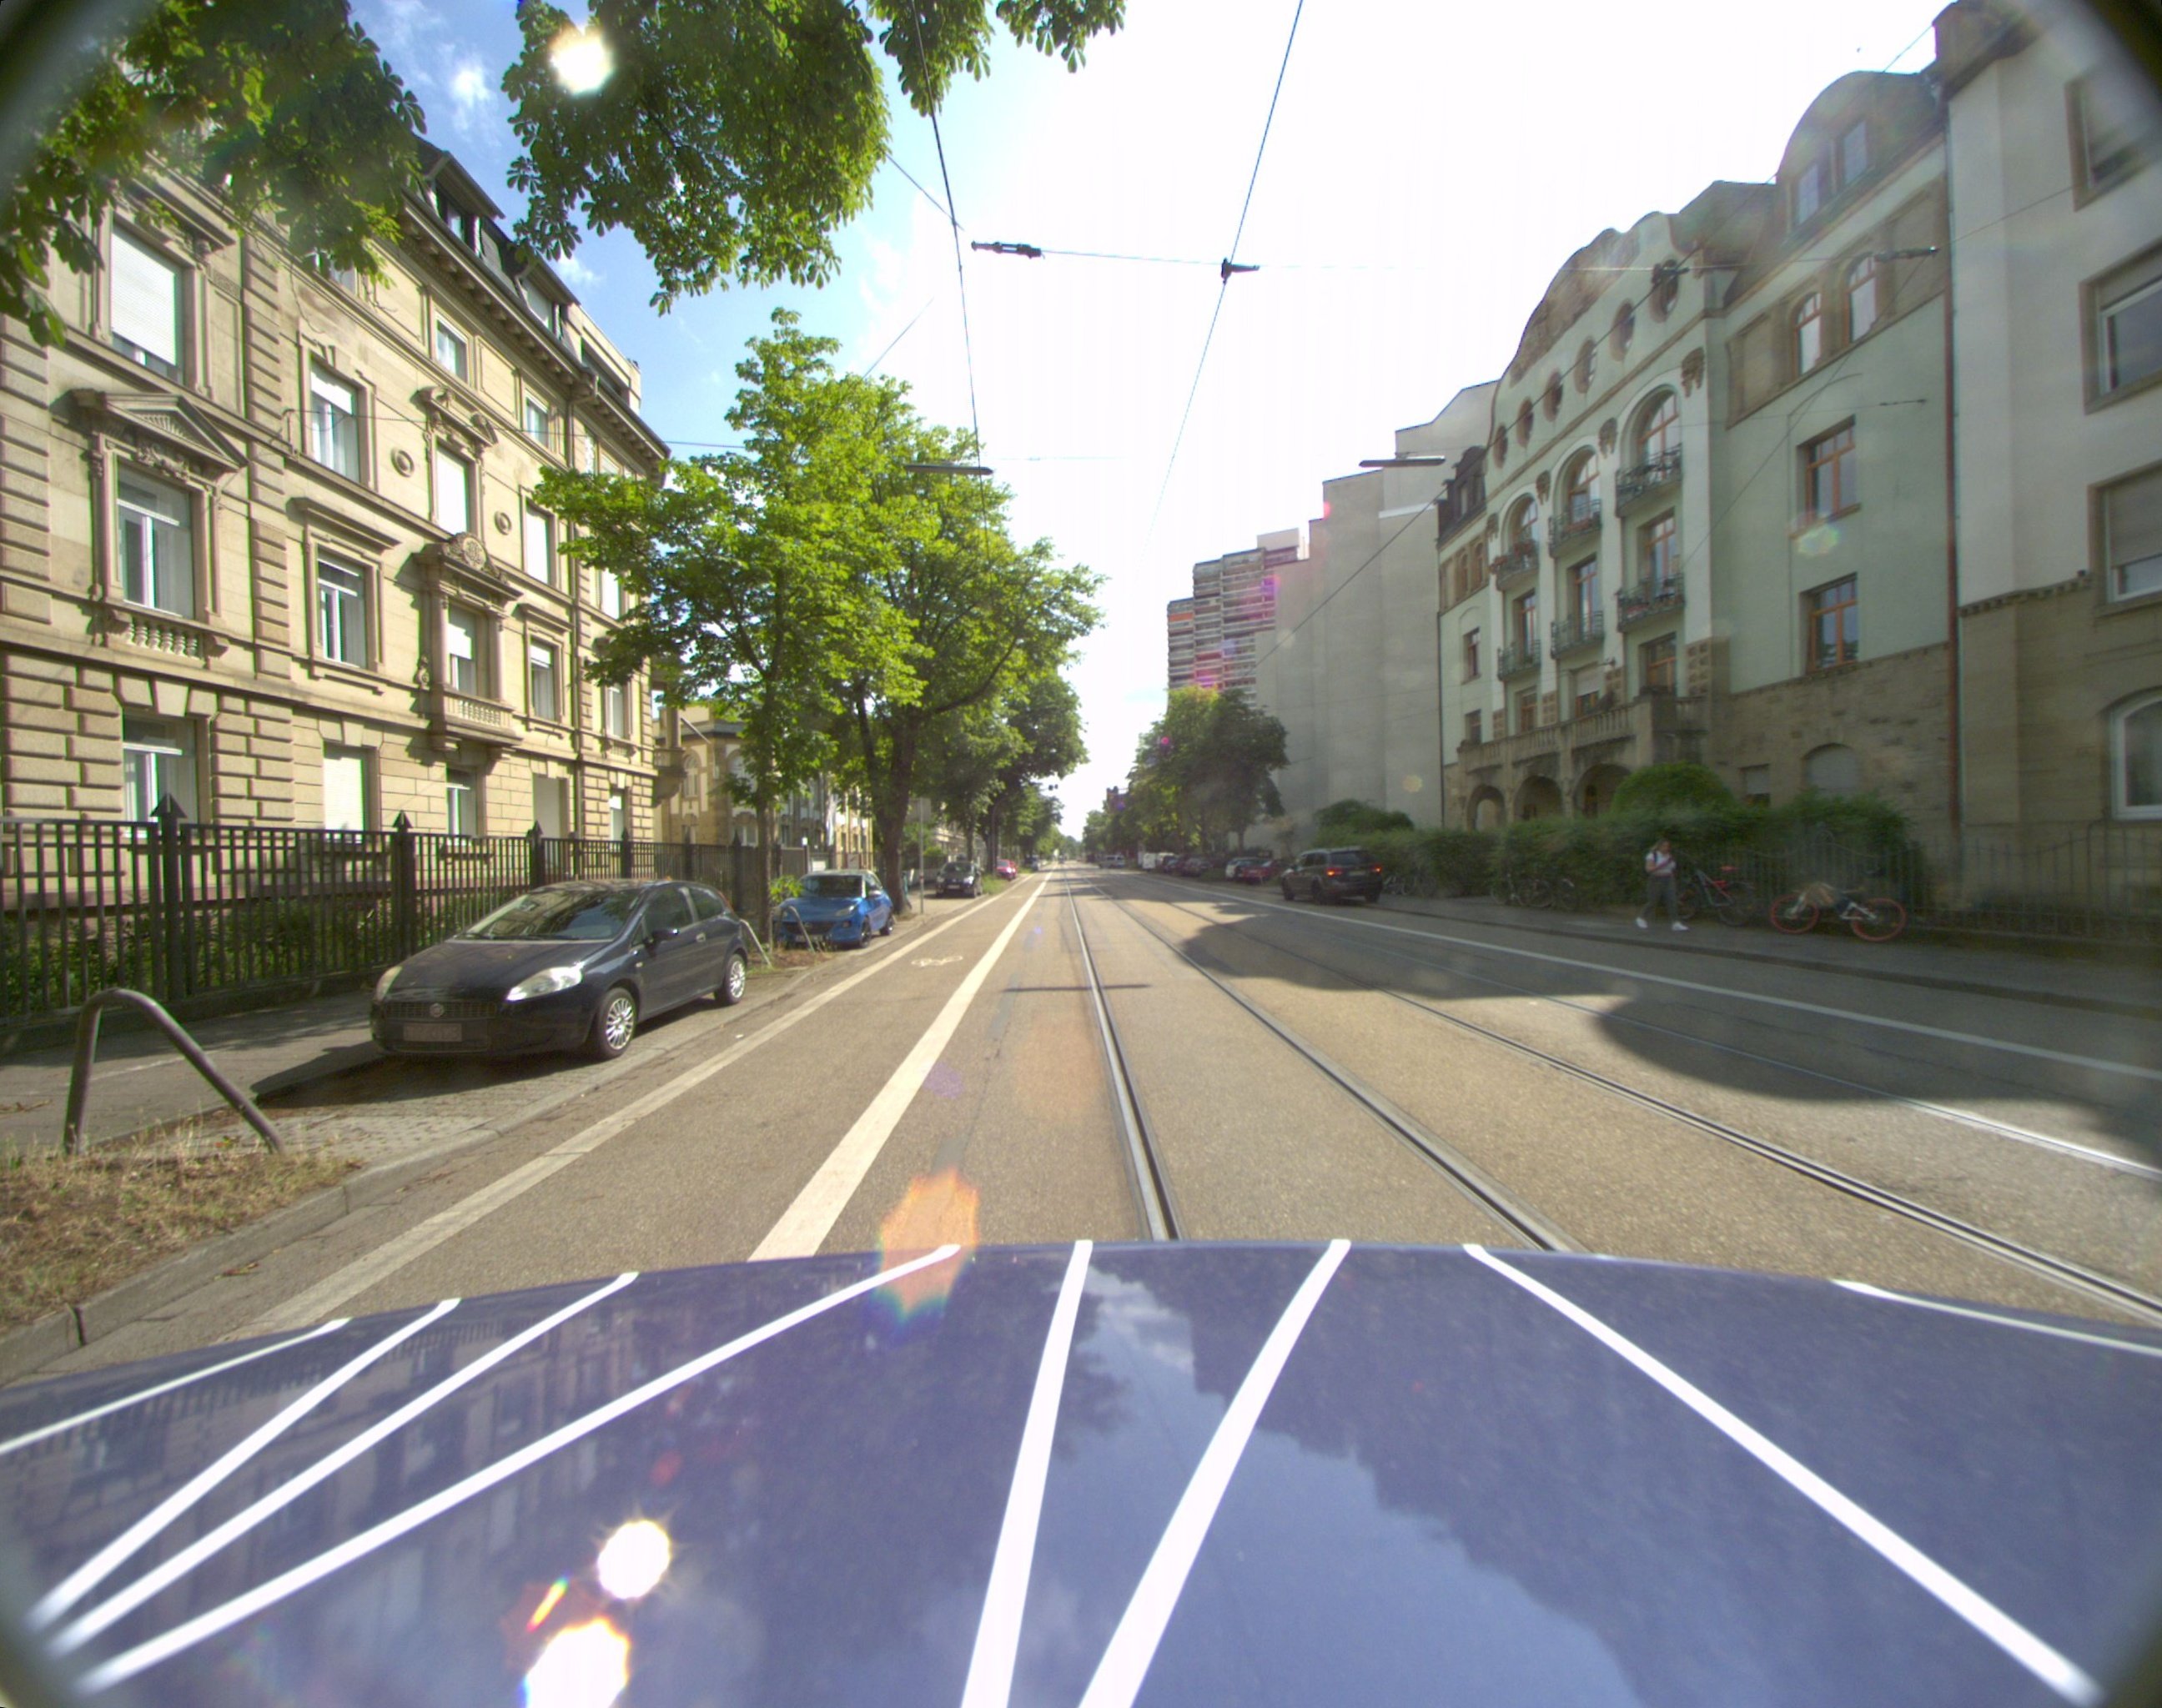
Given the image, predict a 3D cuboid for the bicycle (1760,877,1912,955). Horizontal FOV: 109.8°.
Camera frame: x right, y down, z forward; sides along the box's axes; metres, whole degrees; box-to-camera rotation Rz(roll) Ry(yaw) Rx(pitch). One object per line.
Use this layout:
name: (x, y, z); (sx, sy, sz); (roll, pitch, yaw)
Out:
bicycle: (10.821, 0.853, 10.979); (0.384, 0.970, 1.801); (-3, 0, 0)

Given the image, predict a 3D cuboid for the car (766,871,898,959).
car: (-4.859, 1.120, 15.316); (1.644, 1.487, 3.626); (0, 0, -3)

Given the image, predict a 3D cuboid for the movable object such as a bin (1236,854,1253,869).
movable object such as a bin: (14.770, 0.664, 68.707); (1.167, 1.319, 1.441); (2, 1, -3)

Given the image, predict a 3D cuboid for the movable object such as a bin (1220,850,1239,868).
movable object such as a bin: (14.802, 0.494, 75.622); (1.391, 1.771, 1.538); (2, 1, -6)

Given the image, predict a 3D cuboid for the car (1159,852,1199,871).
car: (9.043, 0.716, 70.026); (1.755, 1.683, 3.723); (1, 0, 45)

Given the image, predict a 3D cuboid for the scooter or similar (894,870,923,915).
scooter or similar: (-5.114, 1.138, 22.478); (0.443, 1.291, 1.179); (2, -2, -32)

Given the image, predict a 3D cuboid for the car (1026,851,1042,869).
car: (-7.431, 0.884, 120.466); (2.337, 2.545, 5.388); (-4, 1, -2)

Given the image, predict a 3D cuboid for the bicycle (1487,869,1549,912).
bicycle: (10.779, 0.874, 18.818); (0.384, 0.953, 1.921); (-3, 0, 0)

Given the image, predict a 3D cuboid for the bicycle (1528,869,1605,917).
bicycle: (10.711, 0.840, 16.839); (0.452, 0.953, 1.800); (-3, 0, -2)

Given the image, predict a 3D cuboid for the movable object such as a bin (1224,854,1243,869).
movable object such as a bin: (14.848, 0.706, 73.872); (1.391, 1.356, 1.538); (2, 0, -6)

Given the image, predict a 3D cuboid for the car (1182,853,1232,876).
car: (9.504, 0.791, 57.147); (1.736, 1.583, 4.009); (1, 0, 44)

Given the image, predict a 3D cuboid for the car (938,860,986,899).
car: (-5.310, 1.091, 34.272); (1.701, 1.582, 4.201); (0, 0, -3)

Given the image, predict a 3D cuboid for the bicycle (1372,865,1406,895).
bicycle: (10.556, 0.889, 26.096); (0.384, 0.953, 1.810); (-3, 0, 0)

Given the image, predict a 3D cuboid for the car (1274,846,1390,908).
car: (7.828, 0.668, 24.271); (1.790, 1.752, 4.881); (-1, 0, -4)

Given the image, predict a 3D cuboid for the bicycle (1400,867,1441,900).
bicycle: (10.606, 0.894, 23.780); (0.384, 0.953, 1.921); (-3, 0, 0)

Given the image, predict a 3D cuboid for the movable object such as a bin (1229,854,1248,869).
movable object such as a bin: (14.957, 0.739, 72.219); (1.391, 1.356, 1.538); (2, 0, -6)

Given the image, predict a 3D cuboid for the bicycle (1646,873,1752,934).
bicycle: (10.885, 0.840, 13.465); (0.384, 0.953, 1.801); (-3, 0, 0)

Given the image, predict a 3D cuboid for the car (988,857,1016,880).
car: (-5.884, 1.052, 56.944); (1.881, 1.666, 4.280); (0, 0, -4)

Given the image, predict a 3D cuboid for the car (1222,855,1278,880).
car: (10.566, 0.848, 47.294); (1.692, 1.475, 3.816); (1, 0, 43)

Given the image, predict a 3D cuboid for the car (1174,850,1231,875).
car: (9.764, 0.673, 60.526); (1.911, 1.943, 5.180); (1, 0, 43)

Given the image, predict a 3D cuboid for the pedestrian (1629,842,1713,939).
pedestrian: (9.970, 0.595, 12.879); (0.681, 1.559, 0.882); (-3, 1, 1)

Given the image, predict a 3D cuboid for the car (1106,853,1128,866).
car: (5.432, 0.891, 116.093); (1.894, 1.840, 4.230); (-4, 1, -17)

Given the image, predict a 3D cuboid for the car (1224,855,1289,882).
car: (10.198, 0.849, 44.024); (3.815, 1.475, 1.693); (1, 0, -41)

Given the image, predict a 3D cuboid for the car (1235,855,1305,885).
car: (10.238, 0.848, 40.990); (3.979, 1.475, 1.841); (1, 0, -45)

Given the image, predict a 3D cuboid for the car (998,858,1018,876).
car: (-6.204, 1.112, 64.804); (1.605, 1.420, 3.594); (2, 0, -6)

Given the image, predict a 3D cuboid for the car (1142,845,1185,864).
car: (8.689, 0.039, 79.769); (4.695, 1.985, 1.963); (-1, 0, -43)

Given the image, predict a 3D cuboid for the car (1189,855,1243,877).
car: (9.634, 0.832, 53.955); (4.009, 1.475, 1.736); (1, 0, -44)

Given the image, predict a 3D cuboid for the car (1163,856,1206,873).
car: (9.097, 0.931, 66.850); (1.755, 1.409, 4.009); (1, 0, 43)

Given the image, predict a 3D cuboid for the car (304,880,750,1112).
car: (-4.699, 1.059, 7.223); (1.644, 1.487, 3.756); (0, 0, -3)

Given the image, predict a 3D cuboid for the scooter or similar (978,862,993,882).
scooter or similar: (-6.149, 1.144, 48.824); (0.341, 1.230, 1.261); (2, 1, 23)
